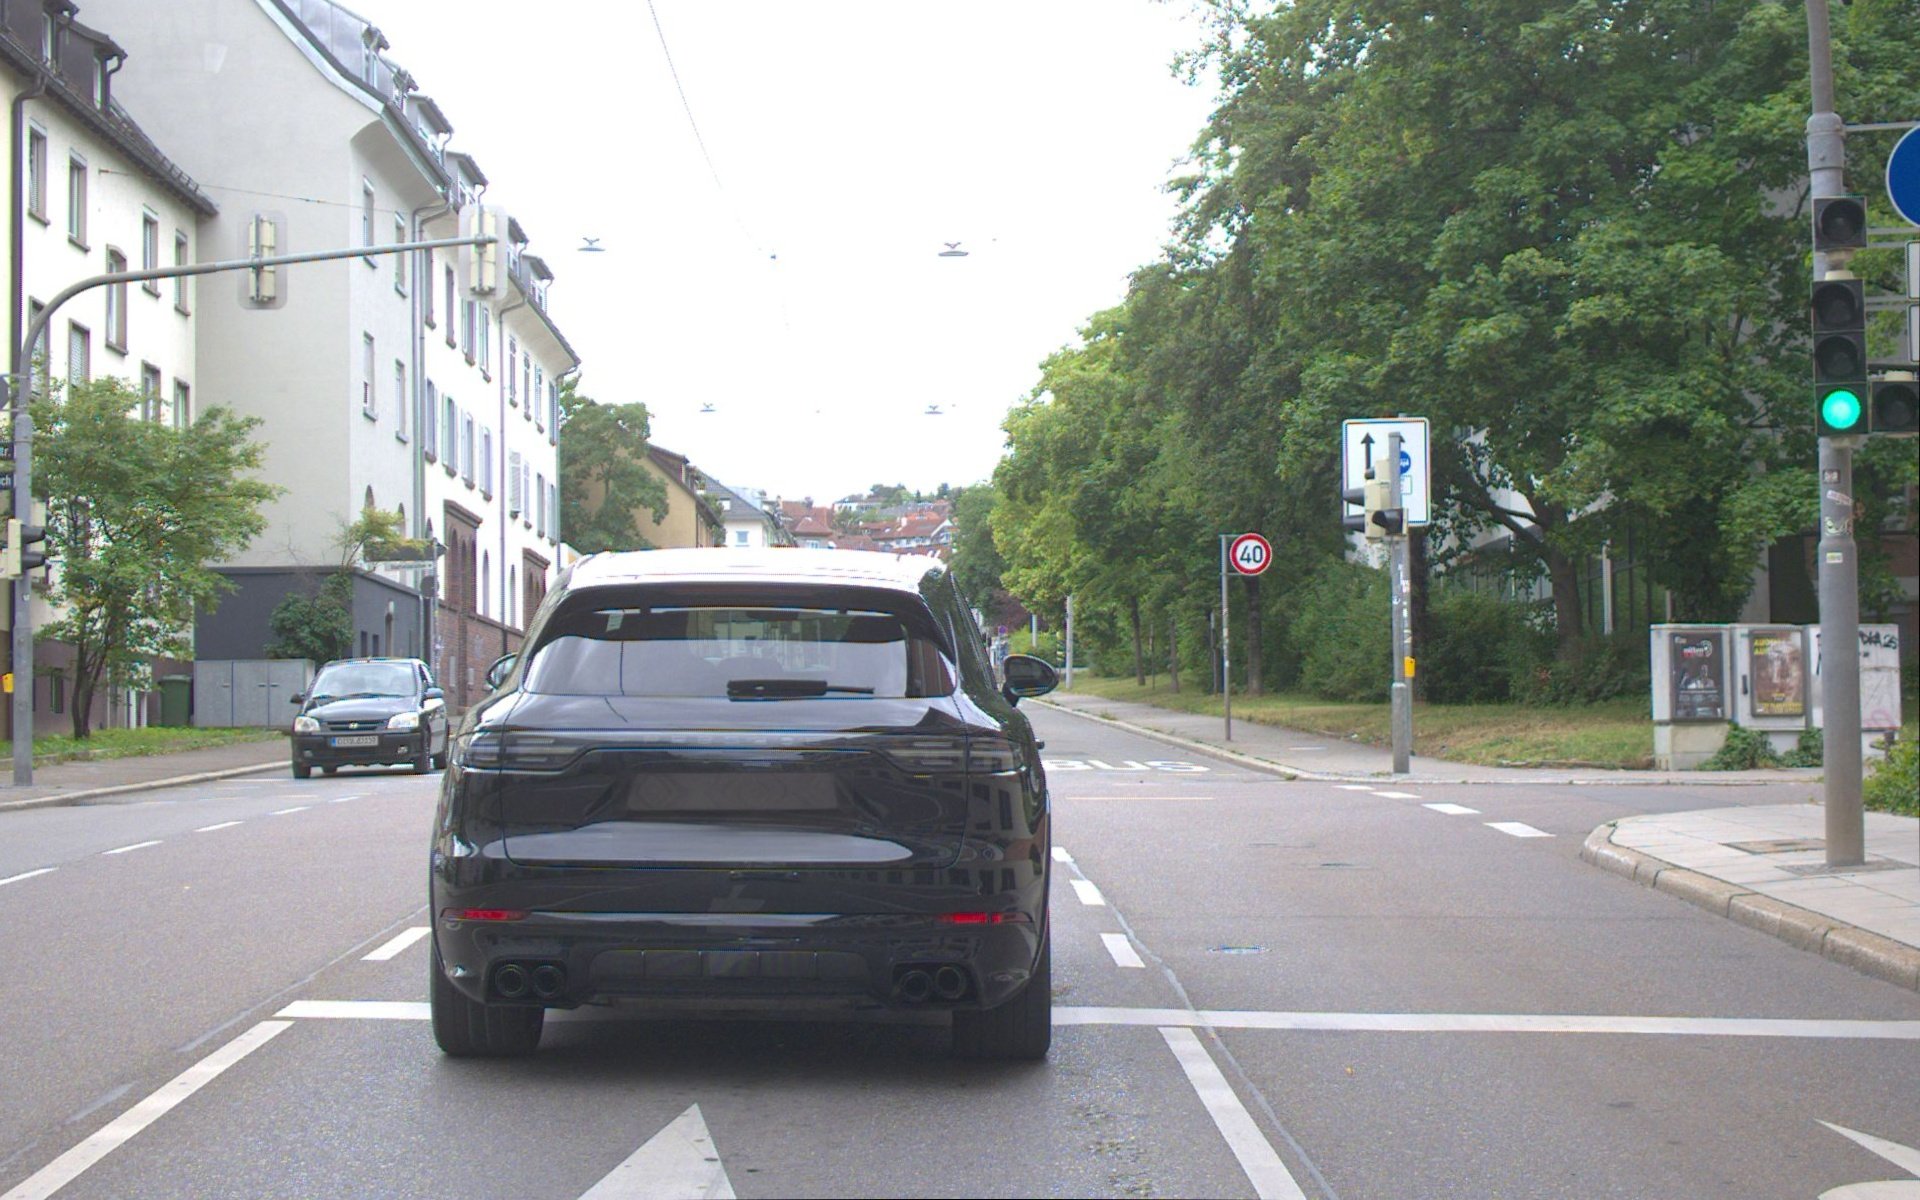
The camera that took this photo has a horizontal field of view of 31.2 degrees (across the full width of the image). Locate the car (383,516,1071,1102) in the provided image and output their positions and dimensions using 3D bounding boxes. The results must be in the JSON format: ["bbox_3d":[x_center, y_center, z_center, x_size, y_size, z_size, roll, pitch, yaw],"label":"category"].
[{"bbox_3d":[-0.705,0.618,12.110,1.993,1.691,4.000,1,0,-1],"label":"car"}]

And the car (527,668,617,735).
[{"bbox_3d":[-8.519,2.220,75.713,1.670,1.357,4.000,0,0,-2],"label":"car"}]

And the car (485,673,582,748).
[{"bbox_3d":[-8.432,2.176,68.220,1.669,1.357,4.000,0,0,-3],"label":"car"}]

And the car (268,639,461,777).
[{"bbox_3d":[-7.386,1.309,42.940,1.664,1.514,3.739,-4,0,0],"label":"car"}]
